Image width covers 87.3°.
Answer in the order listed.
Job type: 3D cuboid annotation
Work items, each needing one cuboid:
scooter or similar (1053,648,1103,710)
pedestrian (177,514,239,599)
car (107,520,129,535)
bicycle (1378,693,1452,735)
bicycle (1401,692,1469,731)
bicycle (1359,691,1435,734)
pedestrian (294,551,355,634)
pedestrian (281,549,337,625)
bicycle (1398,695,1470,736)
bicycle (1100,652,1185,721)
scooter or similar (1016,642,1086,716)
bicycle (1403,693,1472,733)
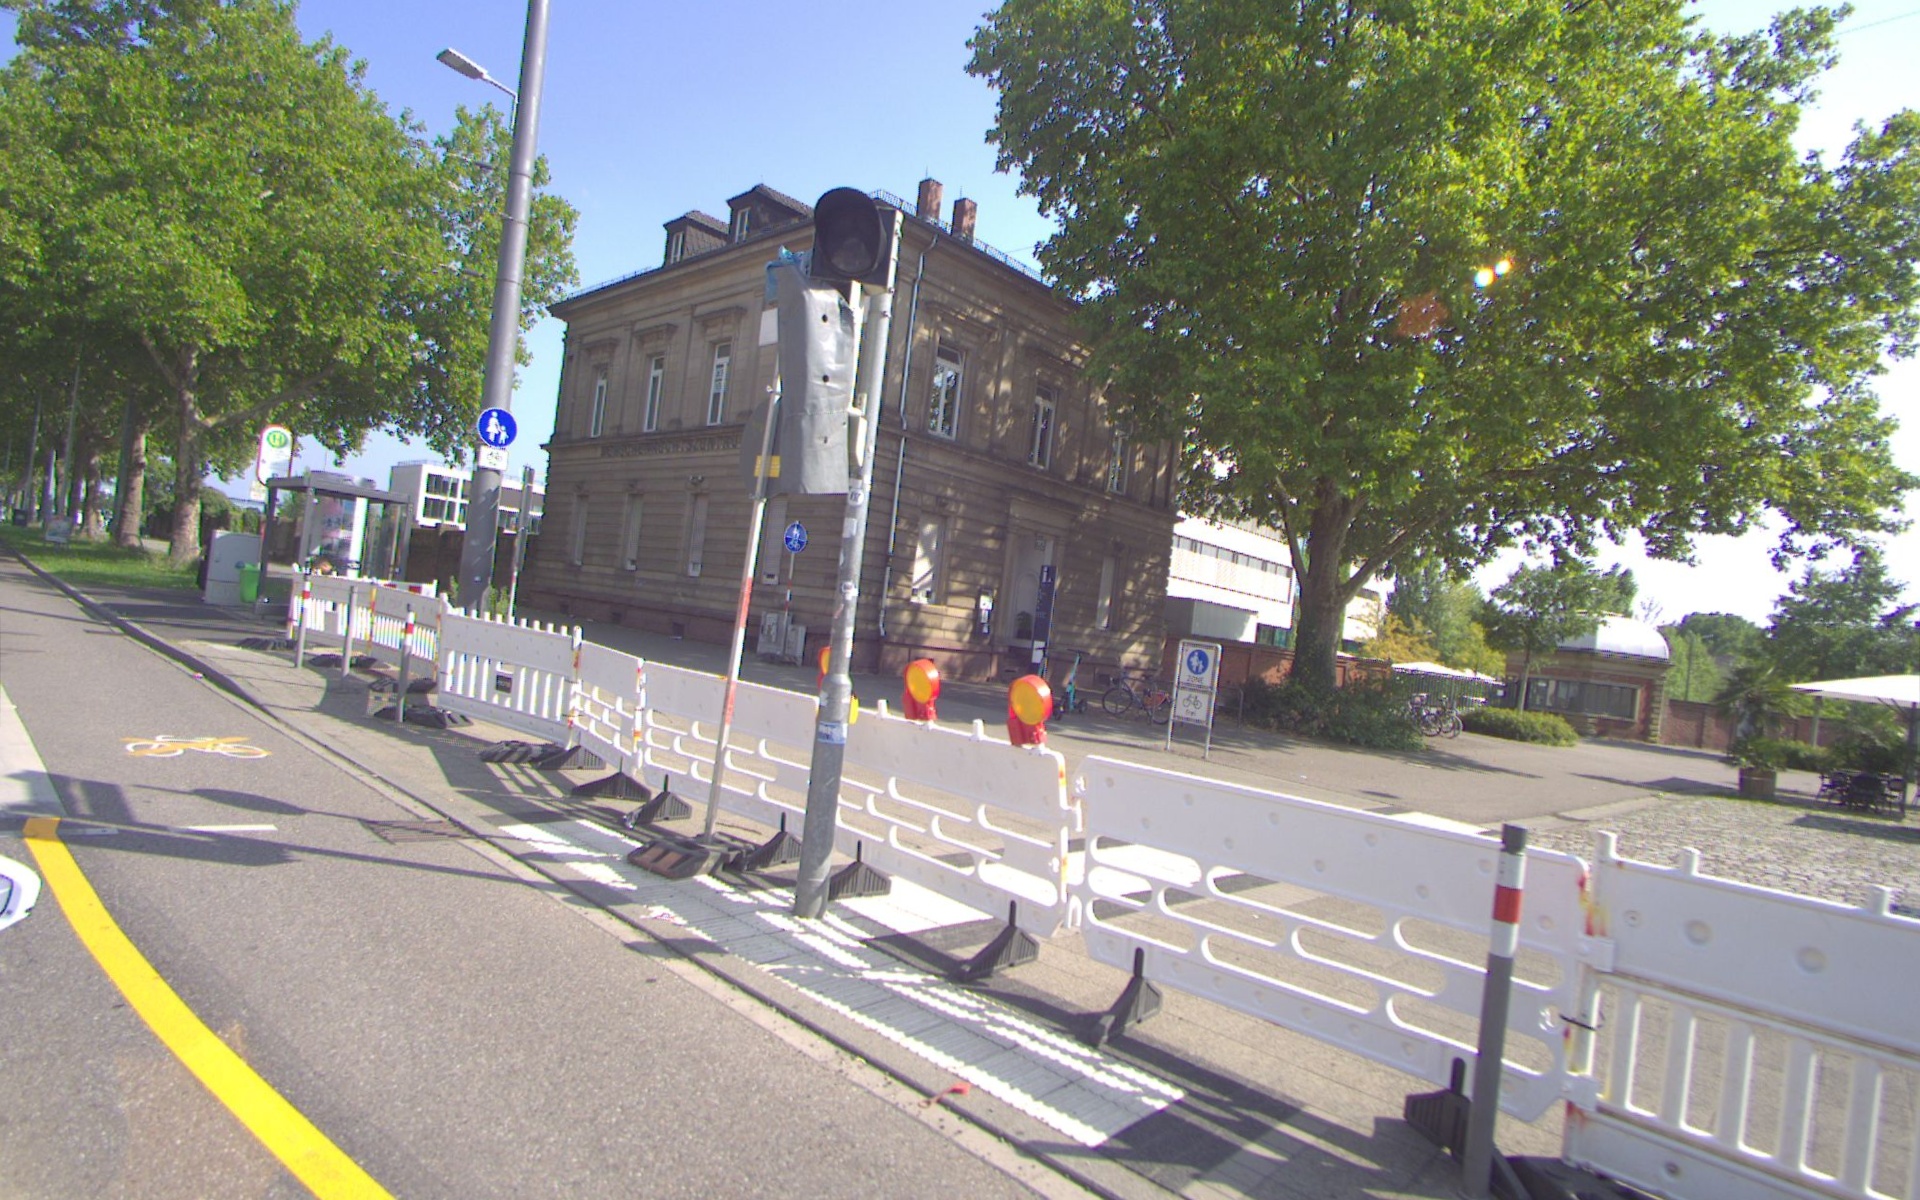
[{"bbox_3d":[2.298,1.544,19.525,0.308,1.146,1.090,6,0,41],"label":"scooter or similar"},{"bbox_3d":[-15.784,-0.903,21.102,0.877,1.645,0.814,7,0,-39],"label":"pedestrian"},{"bbox_3d":[-100.412,-8.643,120.005,1.603,1.595,3.748,6,0,-45],"label":"car"},{"bbox_3d":[13.007,3.258,28.805,0.565,0.871,1.776,7,1,-38],"label":"bicycle"},{"bbox_3d":[14.983,3.525,31.774,0.565,0.911,1.776,6,1,-38],"label":"bicycle"},{"bbox_3d":[12.206,3.141,28.147,0.643,0.871,1.776,7,1,-38],"label":"bicycle"},{"bbox_3d":[-10.636,-0.121,16.832,0.749,1.293,0.607,6,1,42],"label":"pedestrian"},{"bbox_3d":[-11.238,-0.219,17.367,0.566,1.233,0.607,6,1,42],"label":"pedestrian"},{"bbox_3d":[13.885,3.384,29.514,0.565,0.871,1.776,7,1,-38],"label":"bicycle"},{"bbox_3d":[3.662,1.733,20.287,0.496,1.180,1.610,6,0,-41],"label":"bicycle"},{"bbox_3d":[1.633,1.426,18.269,0.407,1.180,1.212,6,0,-41],"label":"scooter or similar"},{"bbox_3d":[14.743,3.488,31.106,0.565,0.911,1.776,6,1,-38],"label":"bicycle"}]
